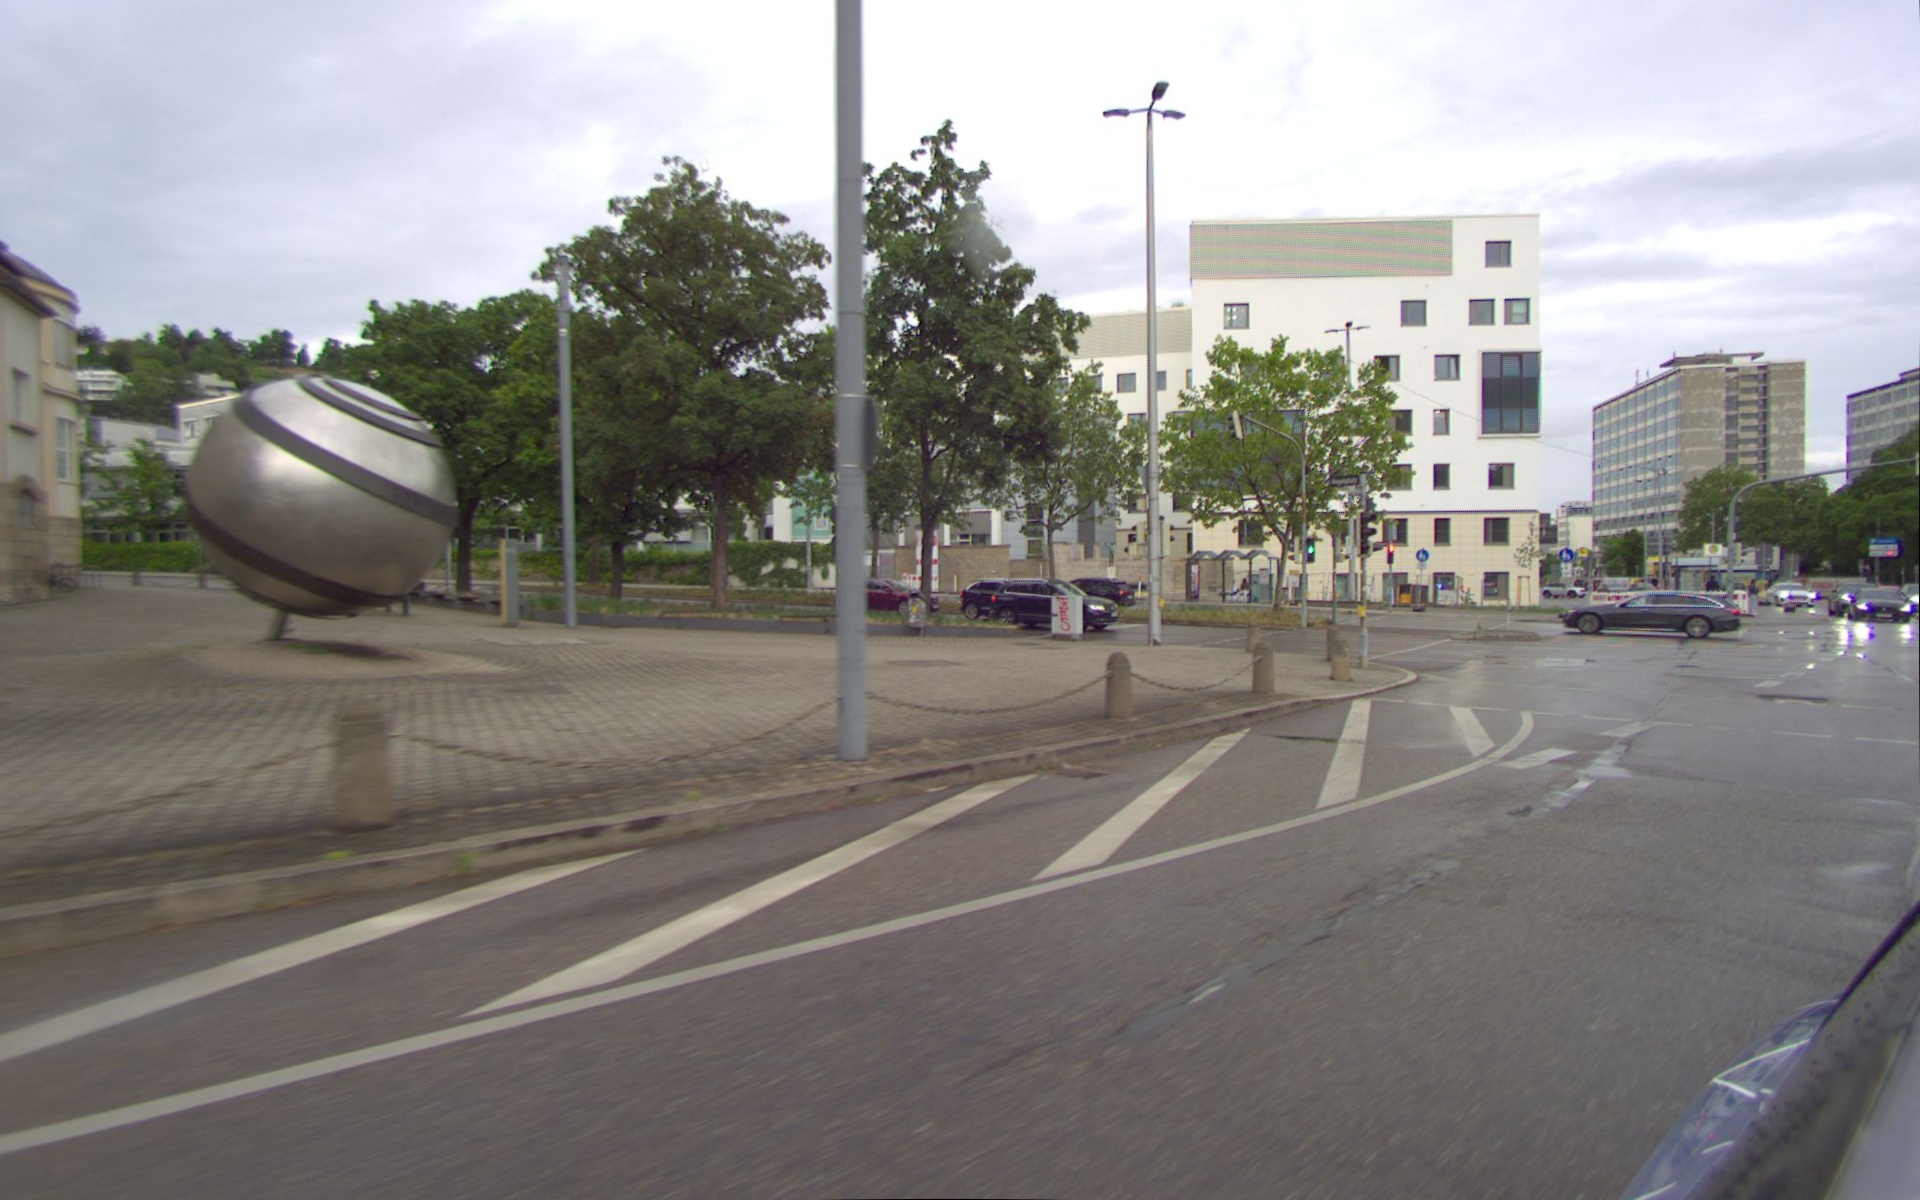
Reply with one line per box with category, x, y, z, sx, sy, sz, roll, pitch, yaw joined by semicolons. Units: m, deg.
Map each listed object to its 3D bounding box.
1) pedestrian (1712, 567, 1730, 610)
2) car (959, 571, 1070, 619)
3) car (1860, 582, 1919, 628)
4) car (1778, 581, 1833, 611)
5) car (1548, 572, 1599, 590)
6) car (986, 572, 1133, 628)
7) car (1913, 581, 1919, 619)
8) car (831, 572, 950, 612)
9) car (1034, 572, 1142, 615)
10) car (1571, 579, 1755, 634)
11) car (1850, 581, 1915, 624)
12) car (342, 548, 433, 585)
pedestrian;37.173;-0.562;49.456;0.640;2.039;0.587;2;1;38
car;2.011;-0.210;37.574;3.713;1.601;1.740;3;2;32
car;40.771;0.189;44.283;1.876;1.891;4.284;3;2;40
car;56.730;-0.301;67.978;2.060;1.934;4.514;2;2;31
car;62.132;-1.969;102.534;1.805;1.725;4.003;0;1;-33
car;3.276;-0.041;33.571;4.456;1.617;1.964;3;2;32
car;50.806;0.018;52.180;2.068;1.934;4.497;3;2;40
car;-2.831;-0.351;40.845;4.571;1.383;1.762;3;2;29
car;5.706;-0.337;44.887;4.404;1.734;2.064;2;2;20
car;22.994;0.168;33.215;4.816;1.551;2.067;3;2;39
car;44.951;0.105;49.399;2.068;1.934;4.497;3;2;40
car;-27.095;-1.588;47.872;4.121;1.617;1.822;3;2;28
